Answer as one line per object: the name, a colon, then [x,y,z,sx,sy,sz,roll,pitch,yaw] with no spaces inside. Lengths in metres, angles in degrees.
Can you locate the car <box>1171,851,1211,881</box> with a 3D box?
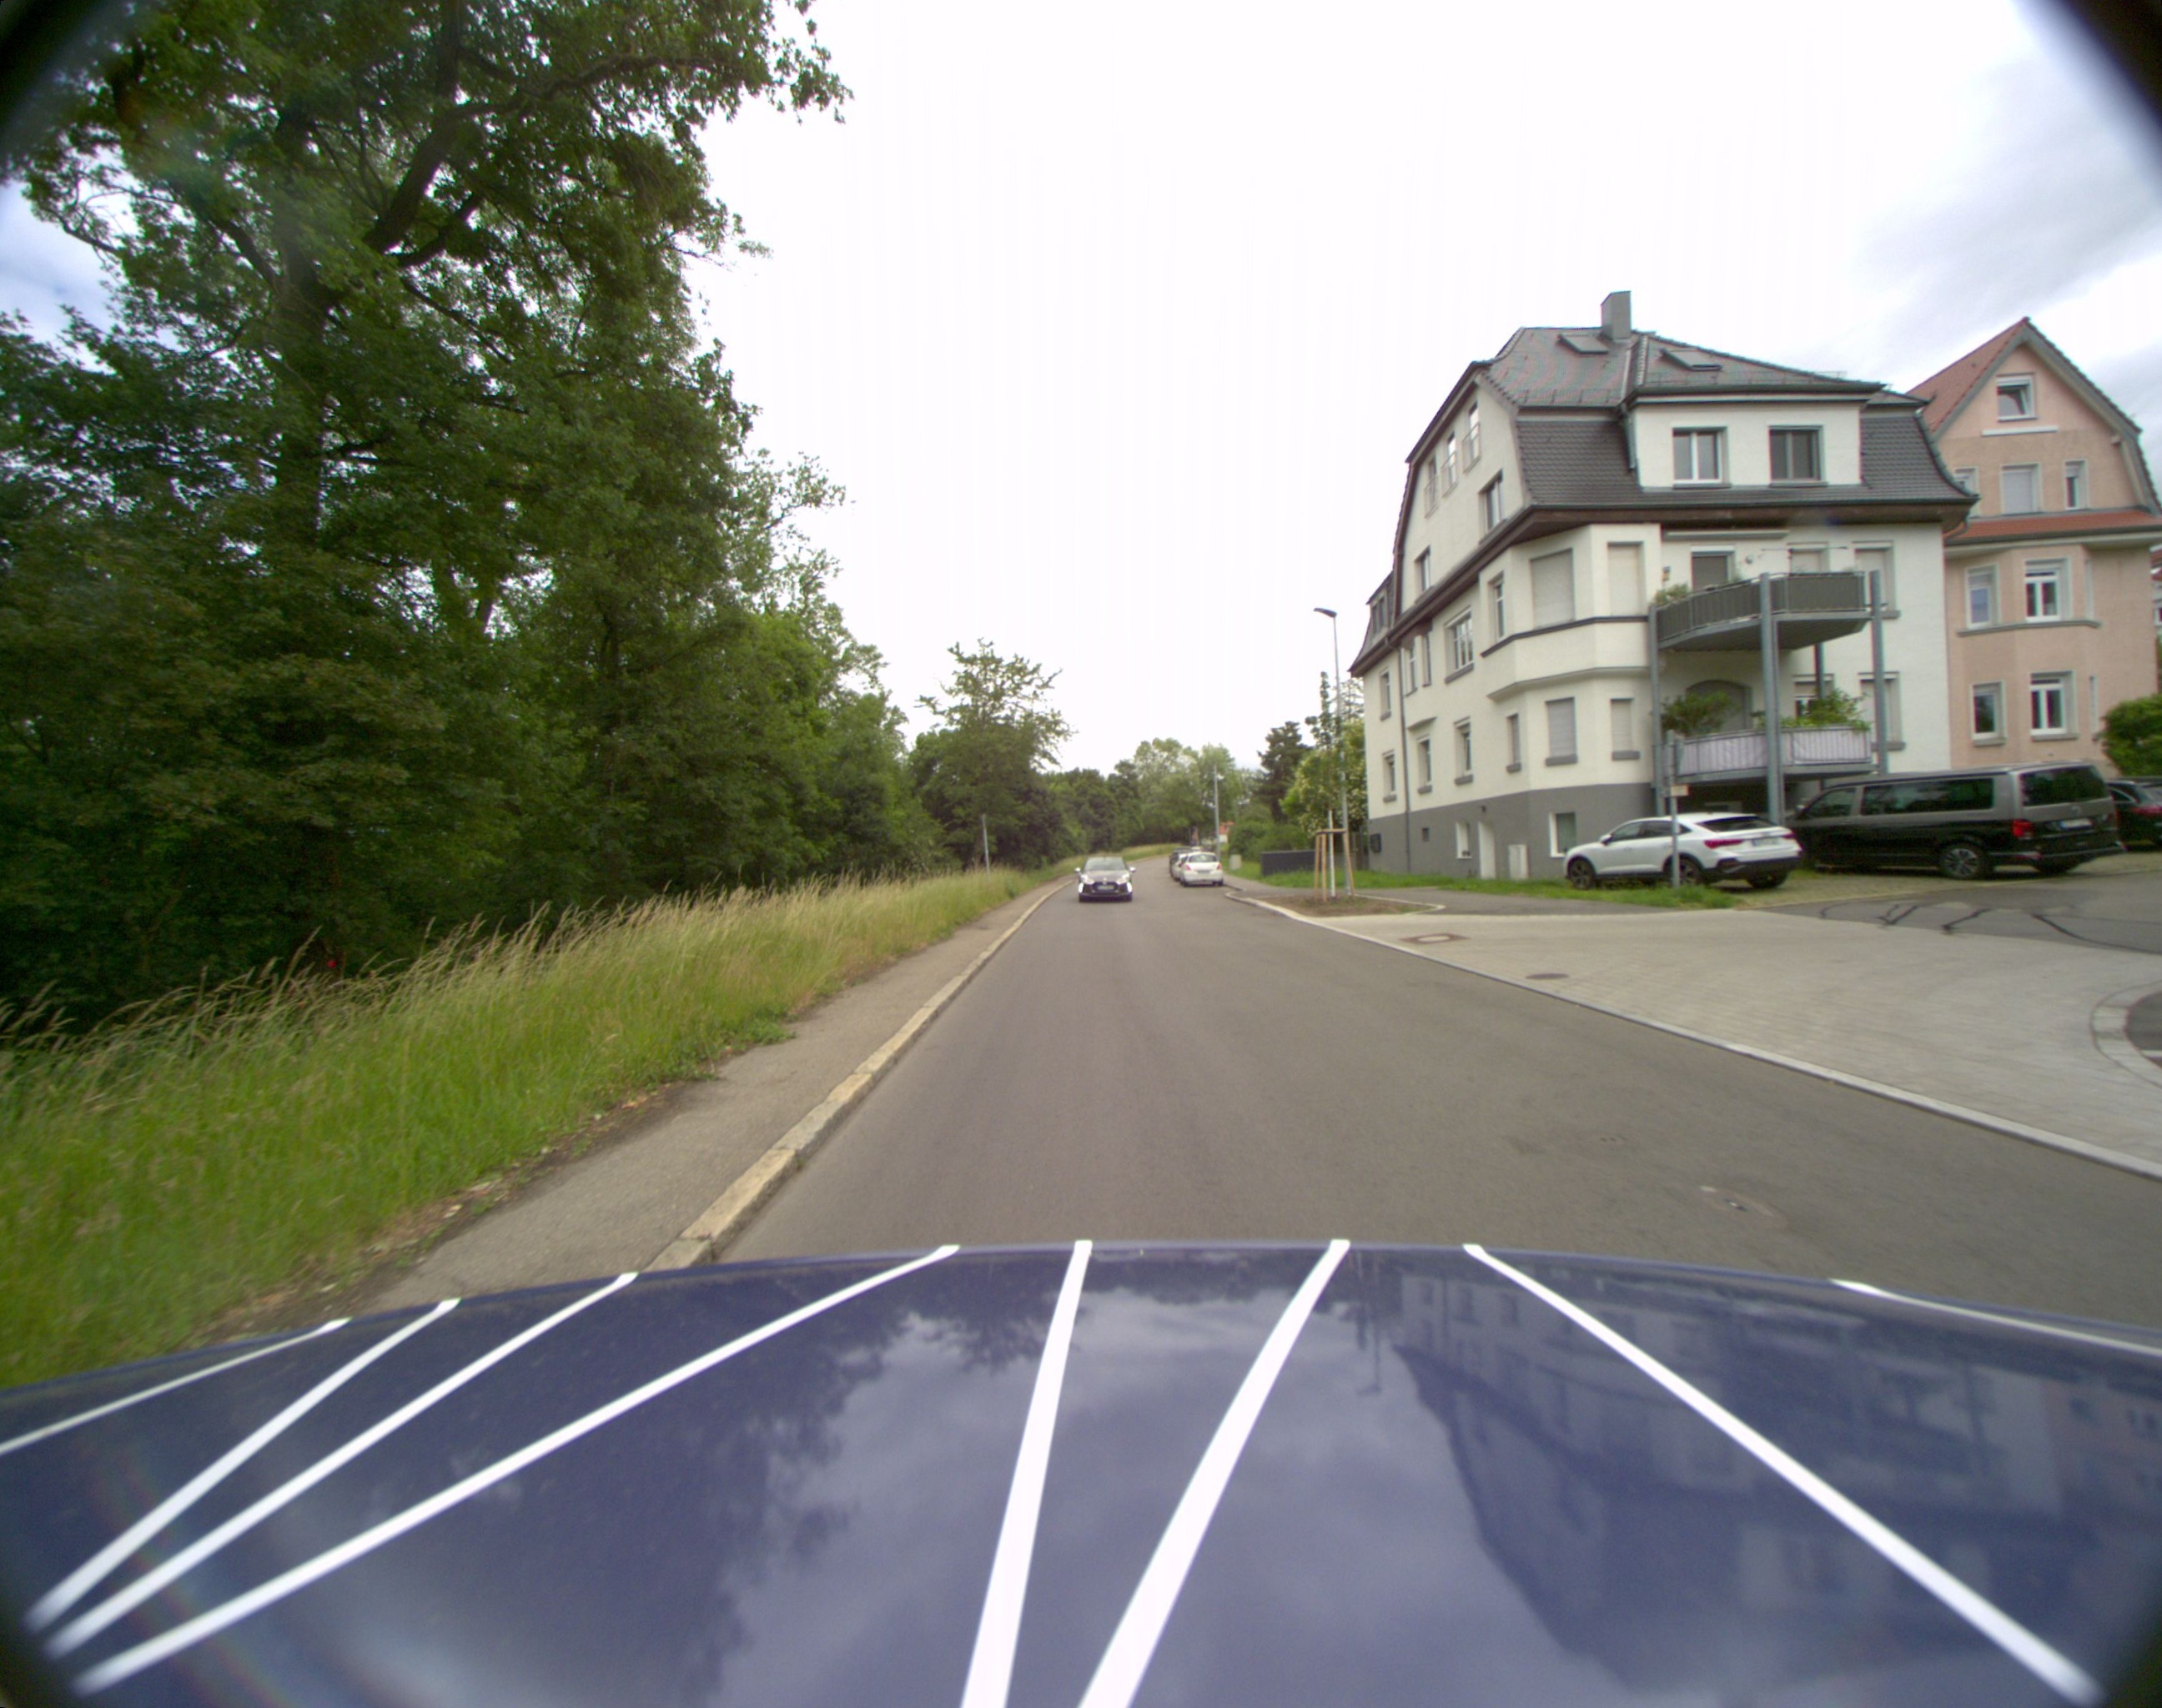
car: [5.724,0.596,39.975,1.728,1.382,4.727,-1,1,4]

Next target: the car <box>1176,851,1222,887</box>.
car: [5.265,0.642,34.214,1.646,1.461,4.071,-1,1,3]

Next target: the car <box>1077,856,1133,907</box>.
car: [0.822,0.802,24.176,1.619,1.460,4.001,0,0,3]

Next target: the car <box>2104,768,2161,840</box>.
car: [26.243,-1.197,16.343,1.871,1.617,4.761,-5,2,-4]

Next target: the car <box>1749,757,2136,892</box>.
car: [16.227,-0.536,14.820,1.911,2.039,4.761,-5,2,-4]

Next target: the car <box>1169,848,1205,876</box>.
car: [6.255,0.450,45.260,1.730,1.564,4.816,0,0,3]

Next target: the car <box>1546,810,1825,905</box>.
car: [12.237,0.015,15.890,1.911,1.524,4.594,-5,2,-4]

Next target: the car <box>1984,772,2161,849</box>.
car: [22.416,-0.928,15.920,1.685,1.490,4.319,-5,2,-4]

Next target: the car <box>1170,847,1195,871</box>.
car: [7.234,0.360,54.177,1.665,1.573,4.079,-1,1,7]

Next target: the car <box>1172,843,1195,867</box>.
car: [8.402,0.051,62.372,1.799,1.790,4.066,-1,1,8]

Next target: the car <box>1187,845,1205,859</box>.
car: [12.985,-0.247,85.605,1.735,1.420,3.460,-1,1,12]
